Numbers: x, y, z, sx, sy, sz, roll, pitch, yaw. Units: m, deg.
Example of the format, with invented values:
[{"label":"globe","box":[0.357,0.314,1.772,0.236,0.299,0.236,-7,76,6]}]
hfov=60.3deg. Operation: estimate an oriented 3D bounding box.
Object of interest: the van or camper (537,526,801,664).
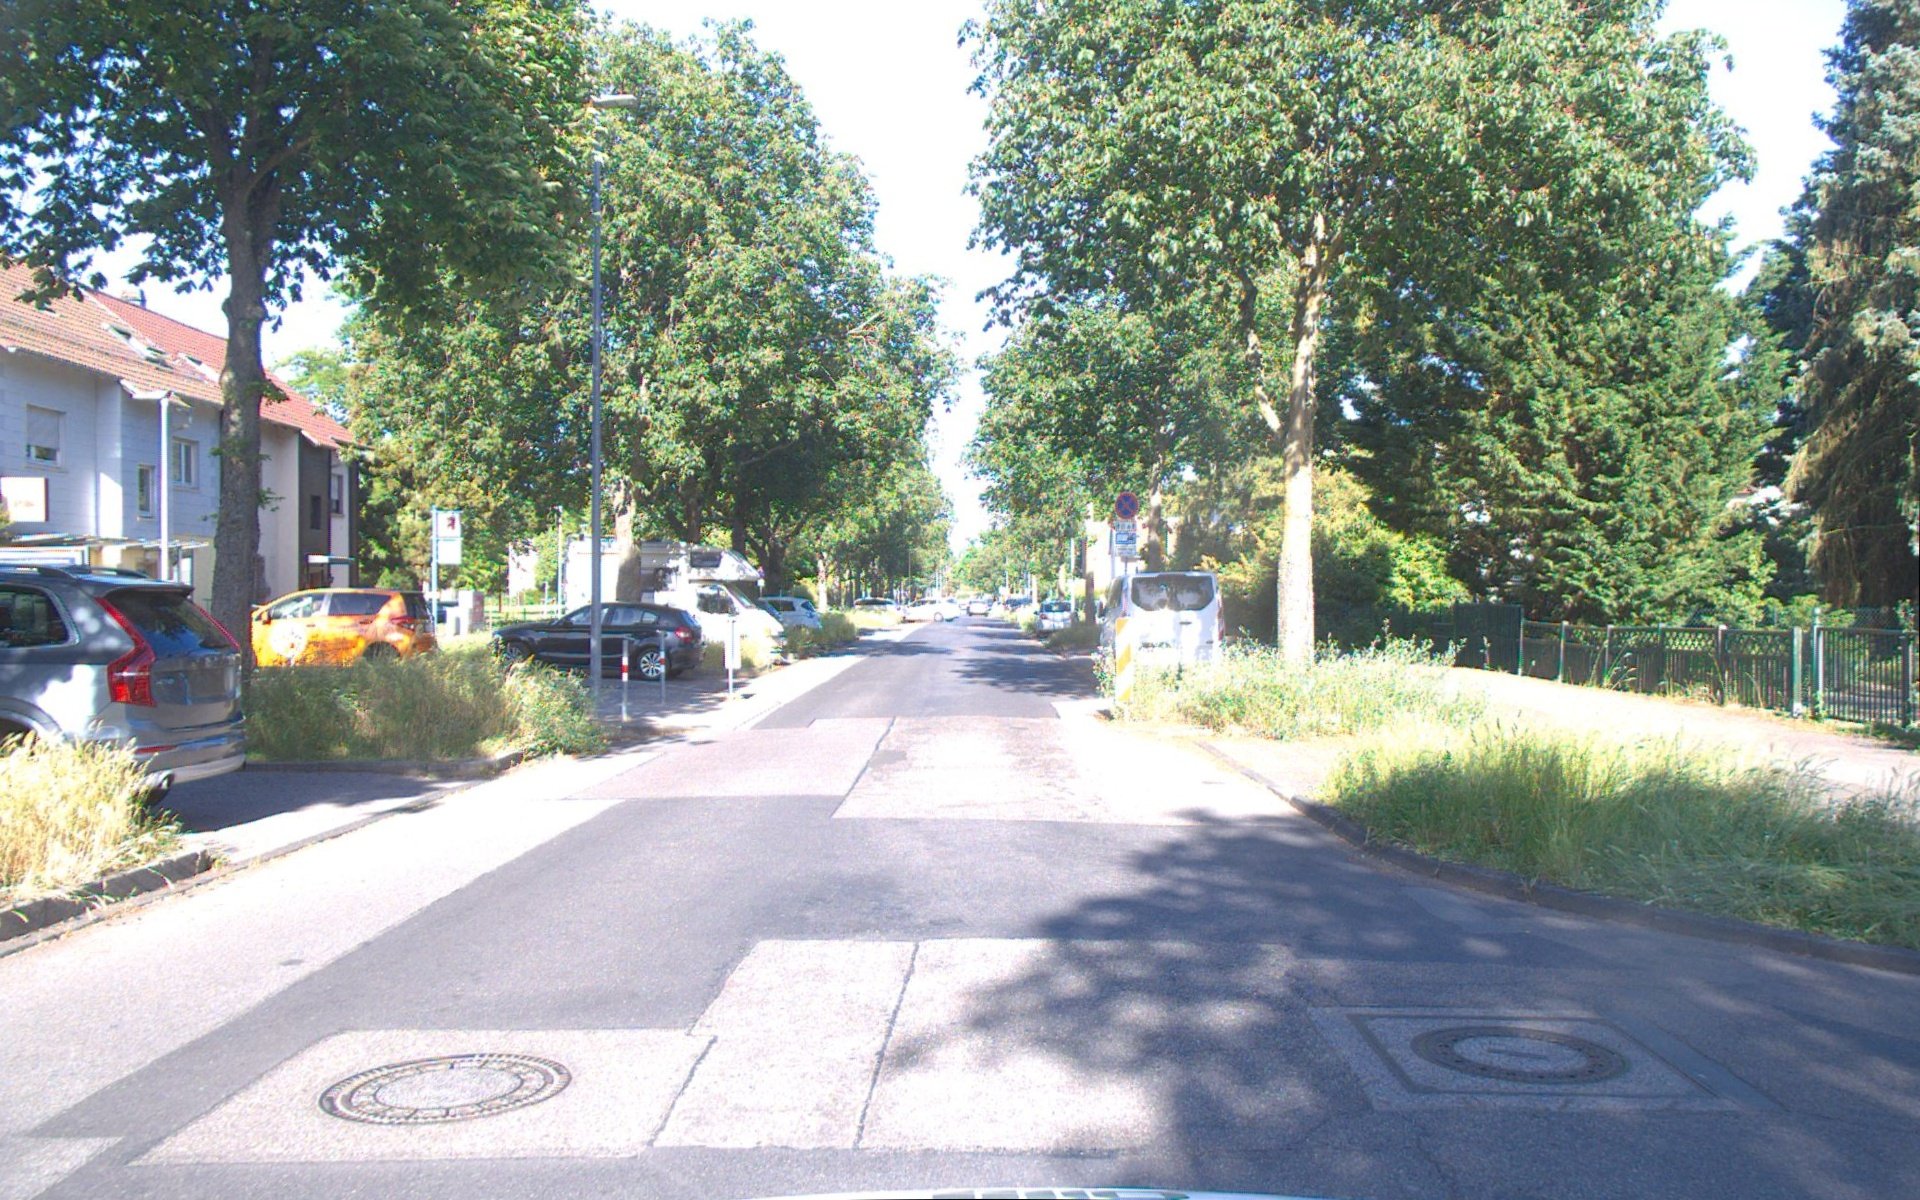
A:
[{"label":"van or camper","box":[-6.780,-0.104,38.948,5.656,2.854,2.000,3,-1,2]}]

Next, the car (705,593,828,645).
[{"label":"car","box":[-6.461,0.626,55.677,3.906,1.690,1.966,1,0,-1]}]

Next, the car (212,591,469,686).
[{"label":"car","box":[-11.020,0.674,29.660,3.909,1.569,1.868,1,0,-5]}]

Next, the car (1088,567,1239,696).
[{"label":"car","box":[3.604,0.545,30.228,1.953,2.049,5.195,3,-1,-1]}]

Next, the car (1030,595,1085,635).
[{"label":"car","box":[4.021,0.624,67.616,1.951,1.537,4.003,-1,-1,7]}]

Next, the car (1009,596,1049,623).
[{"label":"car","box":[4.462,0.617,107.275,1.955,1.650,4.376,3,-1,-6]}]

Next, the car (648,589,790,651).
[{"label":"car","box":[-7.184,0.602,49.656,3.906,1.617,2.000,3,-1,-1]}]

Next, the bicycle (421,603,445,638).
[{"label":"bicycle","box":[-19.336,0.724,60.738,0.692,1.197,4.039,0,1,-16]}]

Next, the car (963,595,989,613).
[{"label":"car","box":[1.435,0.374,149.727,1.954,1.534,3.655,3,-1,-4]}]

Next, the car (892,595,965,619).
[{"label":"car","box":[-1.990,0.426,103.597,4.126,1.480,1.999,0,0,24]}]

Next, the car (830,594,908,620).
[{"label":"car","box":[-5.591,0.433,101.946,4.574,1.530,2.000,1,0,2]}]

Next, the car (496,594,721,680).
[{"label":"car","box":[-6.779,0.703,32.123,3.903,1.475,1.640,2,-1,4]}]

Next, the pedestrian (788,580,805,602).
[{"label":"pedestrian","box":[-14.410,-0.776,145.728,1.205,1.859,1.544,2,-1,-16]}]

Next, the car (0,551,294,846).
[{"label":"car","box":[-7.389,0.501,11.055,4.961,1.758,1.999,3,-1,-4]}]
